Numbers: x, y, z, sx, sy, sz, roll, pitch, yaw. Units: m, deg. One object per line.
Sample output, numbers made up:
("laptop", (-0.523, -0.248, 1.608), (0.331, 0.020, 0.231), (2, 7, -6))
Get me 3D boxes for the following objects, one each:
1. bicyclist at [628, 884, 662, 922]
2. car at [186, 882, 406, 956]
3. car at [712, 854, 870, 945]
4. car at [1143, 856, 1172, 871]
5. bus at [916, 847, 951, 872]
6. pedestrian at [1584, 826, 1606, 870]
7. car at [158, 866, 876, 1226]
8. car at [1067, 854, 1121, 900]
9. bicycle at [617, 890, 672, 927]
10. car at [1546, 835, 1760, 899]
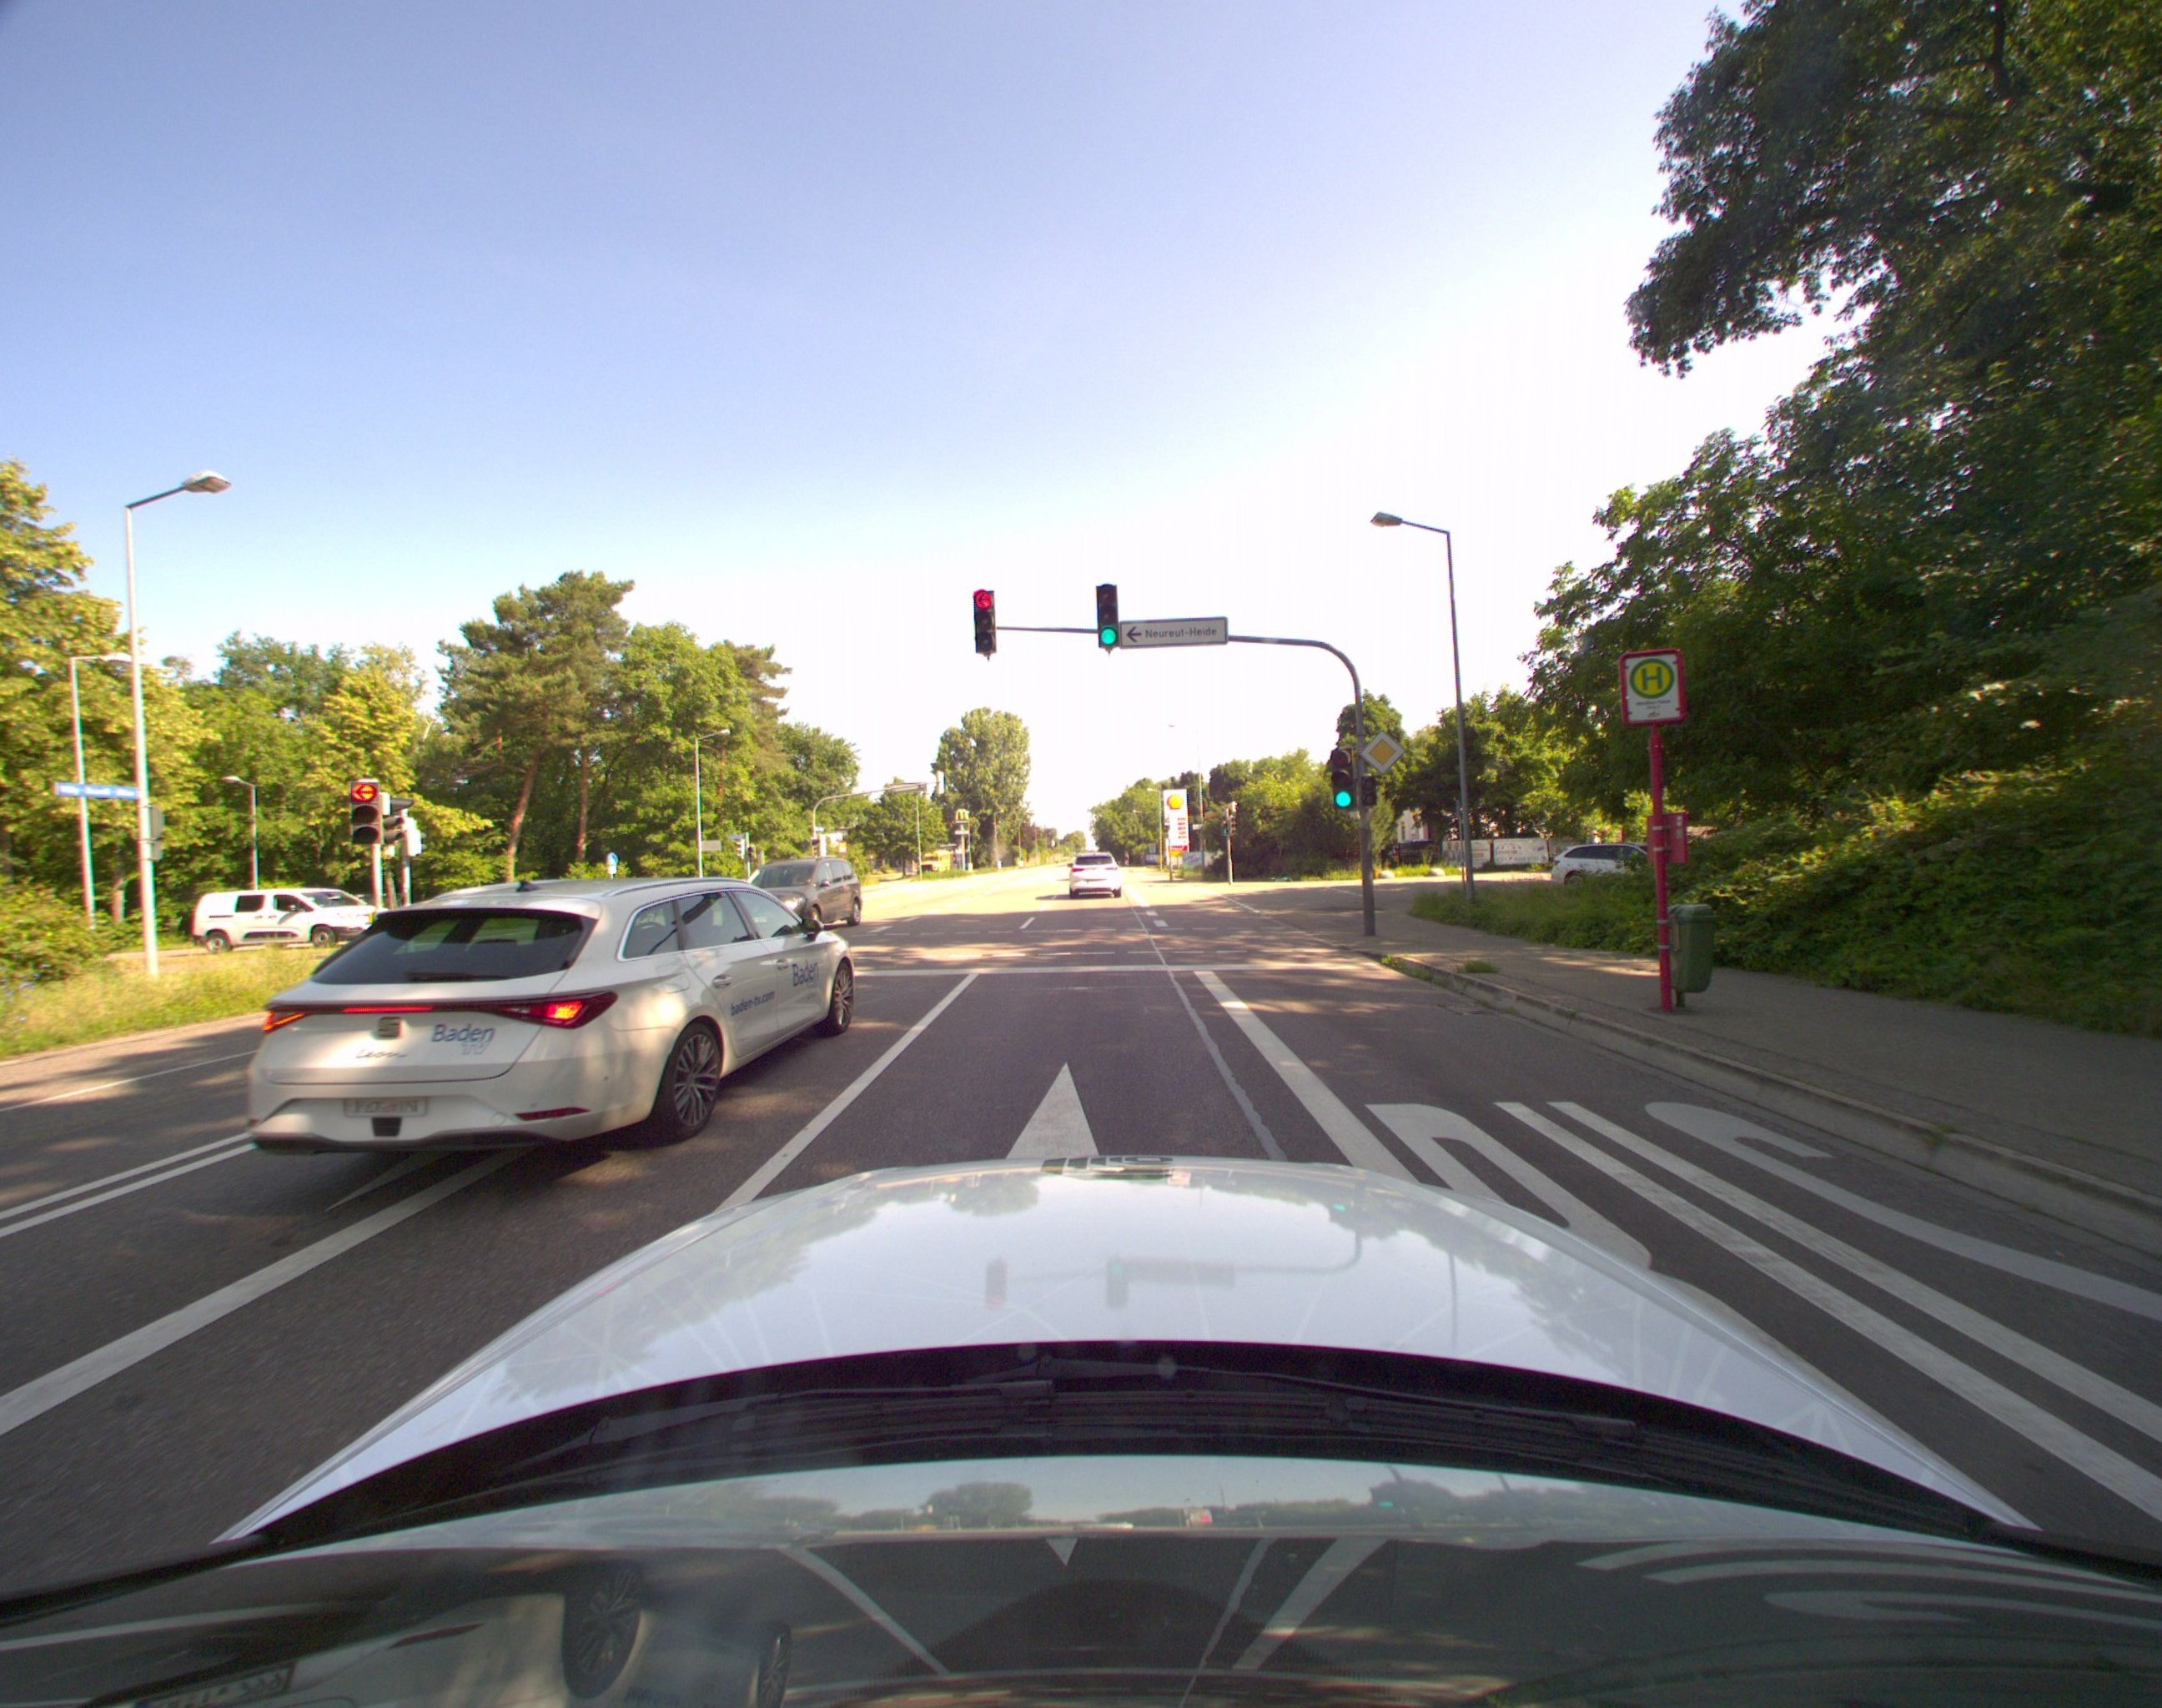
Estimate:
("bicyclist", (-16.163, 1.799, 30.199), (0.719, 1.311, 0.883), (-3, 0, -1))
("car", (-23.020, 1.877, 24.007), (4.630, 1.778, 1.853), (-4, -1, 1))
("car", (-6.325, 0.934, 18.327), (1.784, 1.697, 4.392), (-4, -1, 1))
("car", (8.078, 0.980, 86.254), (1.587, 1.530, 2.697), (1, -2, -45))
("bus", (-17.108, 0.690, 94.986), (2.571, 2.679, 8.993), (-1, -1, -1))
("pedestrian", (19.578, -0.239, 31.032), (0.602, 1.629, 0.417), (-3, -1, 27))
("car", (-2.925, 0.839, 5.624), (1.777, 1.424, 4.424), (-1, 0, 1))
("car", (0.502, 0.821, 30.030), (1.840, 1.541, 4.225), (-1, -1, 1))
("bicycle", (-16.159, 2.001, 30.240), (0.730, 1.163, 2.372), (-3, 0, 0))
("car", (15.086, 0.335, 21.833), (1.628, 1.464, 4.585), (-3, 0, -19))
